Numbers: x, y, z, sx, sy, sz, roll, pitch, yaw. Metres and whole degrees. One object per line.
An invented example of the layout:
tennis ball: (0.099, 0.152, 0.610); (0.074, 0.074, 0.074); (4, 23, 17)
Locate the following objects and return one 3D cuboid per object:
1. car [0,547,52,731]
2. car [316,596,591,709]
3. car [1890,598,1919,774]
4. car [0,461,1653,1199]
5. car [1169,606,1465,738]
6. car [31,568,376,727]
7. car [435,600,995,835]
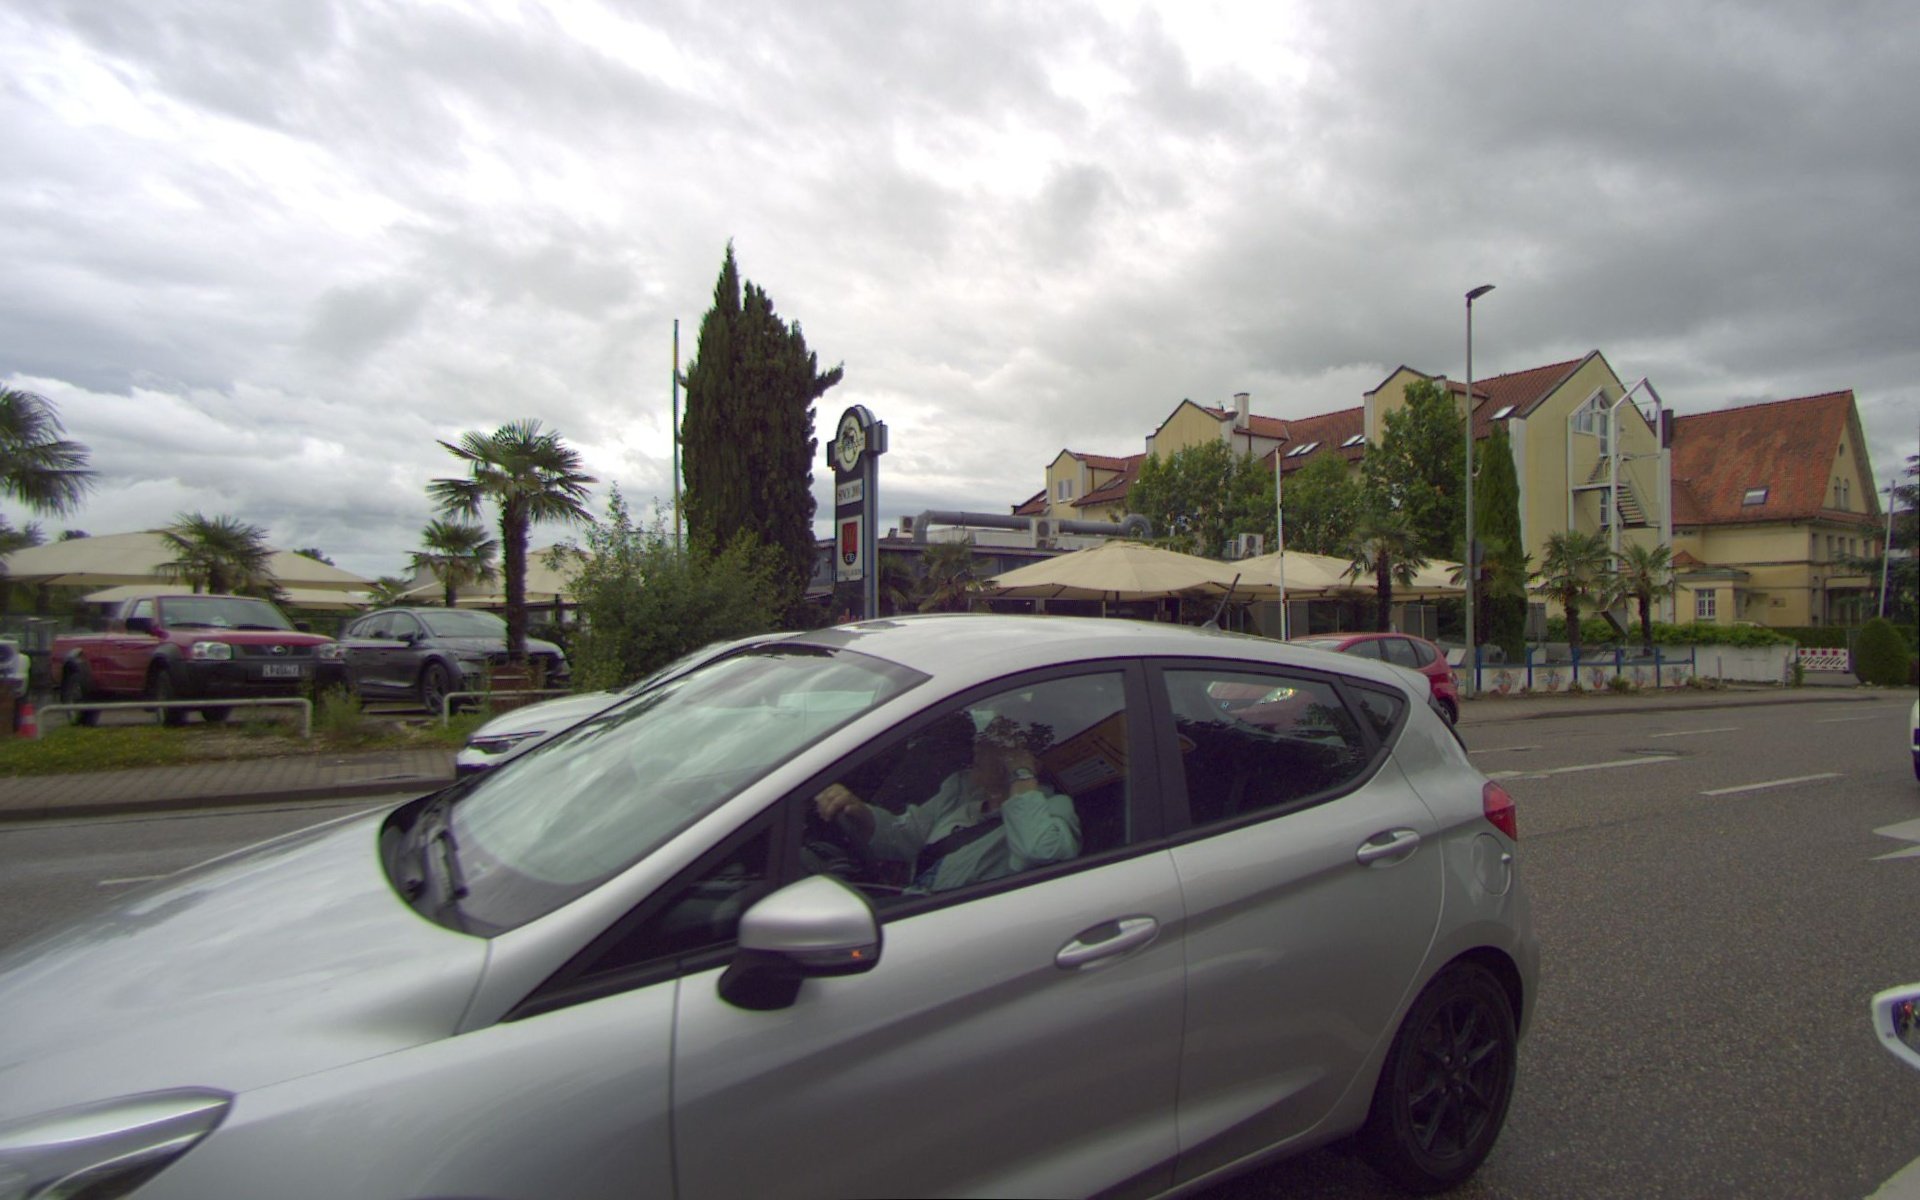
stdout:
car: (-12.777, 0.522, 11.862); (4.325, 2.040, 1.995); (-3, -3, 33)
car: (-7.752, 0.855, 15.270); (4.298, 1.483, 1.993); (-3, -5, 36)
car: (10.897, 0.818, 9.700); (4.191, 1.602, 1.778); (1, -1, -32)
car: (-0.053, 0.596, 2.624); (3.902, 1.460, 1.594); (1, 0, -31)
car: (4.875, 0.923, 13.600); (3.925, 1.553, 1.630); (1, -3, -31)
car: (-9.944, 0.684, 13.099); (4.928, 1.724, 1.995); (-3, -5, 33)
car: (-1.858, 0.795, 7.992); (3.989, 1.497, 1.633); (1, -2, -25)
